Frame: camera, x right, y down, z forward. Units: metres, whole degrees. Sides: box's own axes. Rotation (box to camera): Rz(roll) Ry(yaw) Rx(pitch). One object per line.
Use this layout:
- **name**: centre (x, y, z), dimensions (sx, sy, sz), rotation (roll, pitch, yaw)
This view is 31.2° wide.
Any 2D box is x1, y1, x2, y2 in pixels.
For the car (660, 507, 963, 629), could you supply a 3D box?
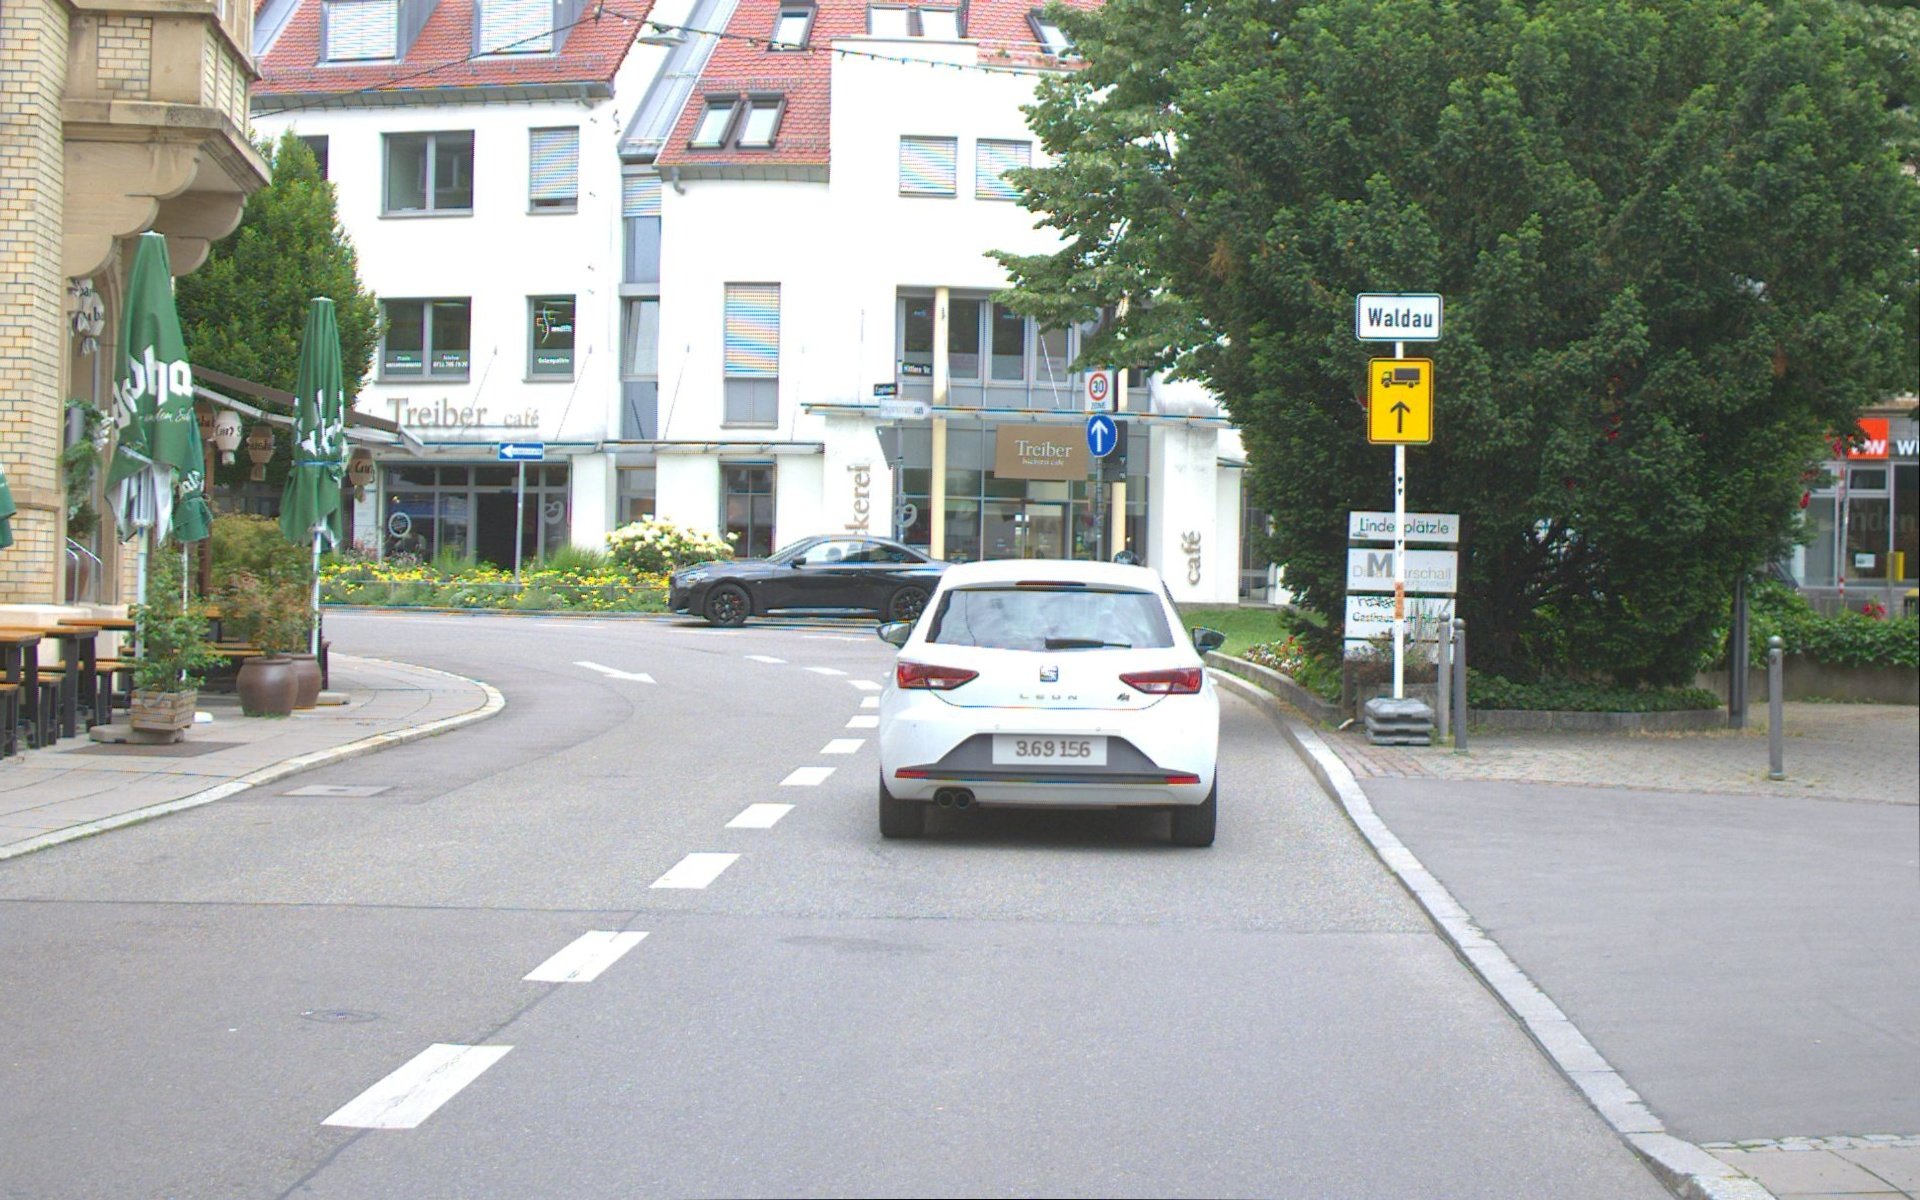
- **car**: centre (-2.278, -0.498, 52.018), dimensions (4.358, 1.669, 2.042), rotation (2, 1, -7)

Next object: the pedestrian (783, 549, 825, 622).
- **pedestrian**: centre (-2.913, -0.271, 64.133), dimensions (0.655, 1.337, 0.696), rotation (1, 1, 7)

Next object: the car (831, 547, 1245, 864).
- **car**: centre (0.540, 0.484, 18.814), dimensions (1.844, 1.429, 3.999), rotation (2, 2, 7)

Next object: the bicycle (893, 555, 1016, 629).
- **bicycle**: centre (-0.100, -0.142, 60.039), dimensions (1.976, 1.235, 0.743), rotation (2, 1, 20)
